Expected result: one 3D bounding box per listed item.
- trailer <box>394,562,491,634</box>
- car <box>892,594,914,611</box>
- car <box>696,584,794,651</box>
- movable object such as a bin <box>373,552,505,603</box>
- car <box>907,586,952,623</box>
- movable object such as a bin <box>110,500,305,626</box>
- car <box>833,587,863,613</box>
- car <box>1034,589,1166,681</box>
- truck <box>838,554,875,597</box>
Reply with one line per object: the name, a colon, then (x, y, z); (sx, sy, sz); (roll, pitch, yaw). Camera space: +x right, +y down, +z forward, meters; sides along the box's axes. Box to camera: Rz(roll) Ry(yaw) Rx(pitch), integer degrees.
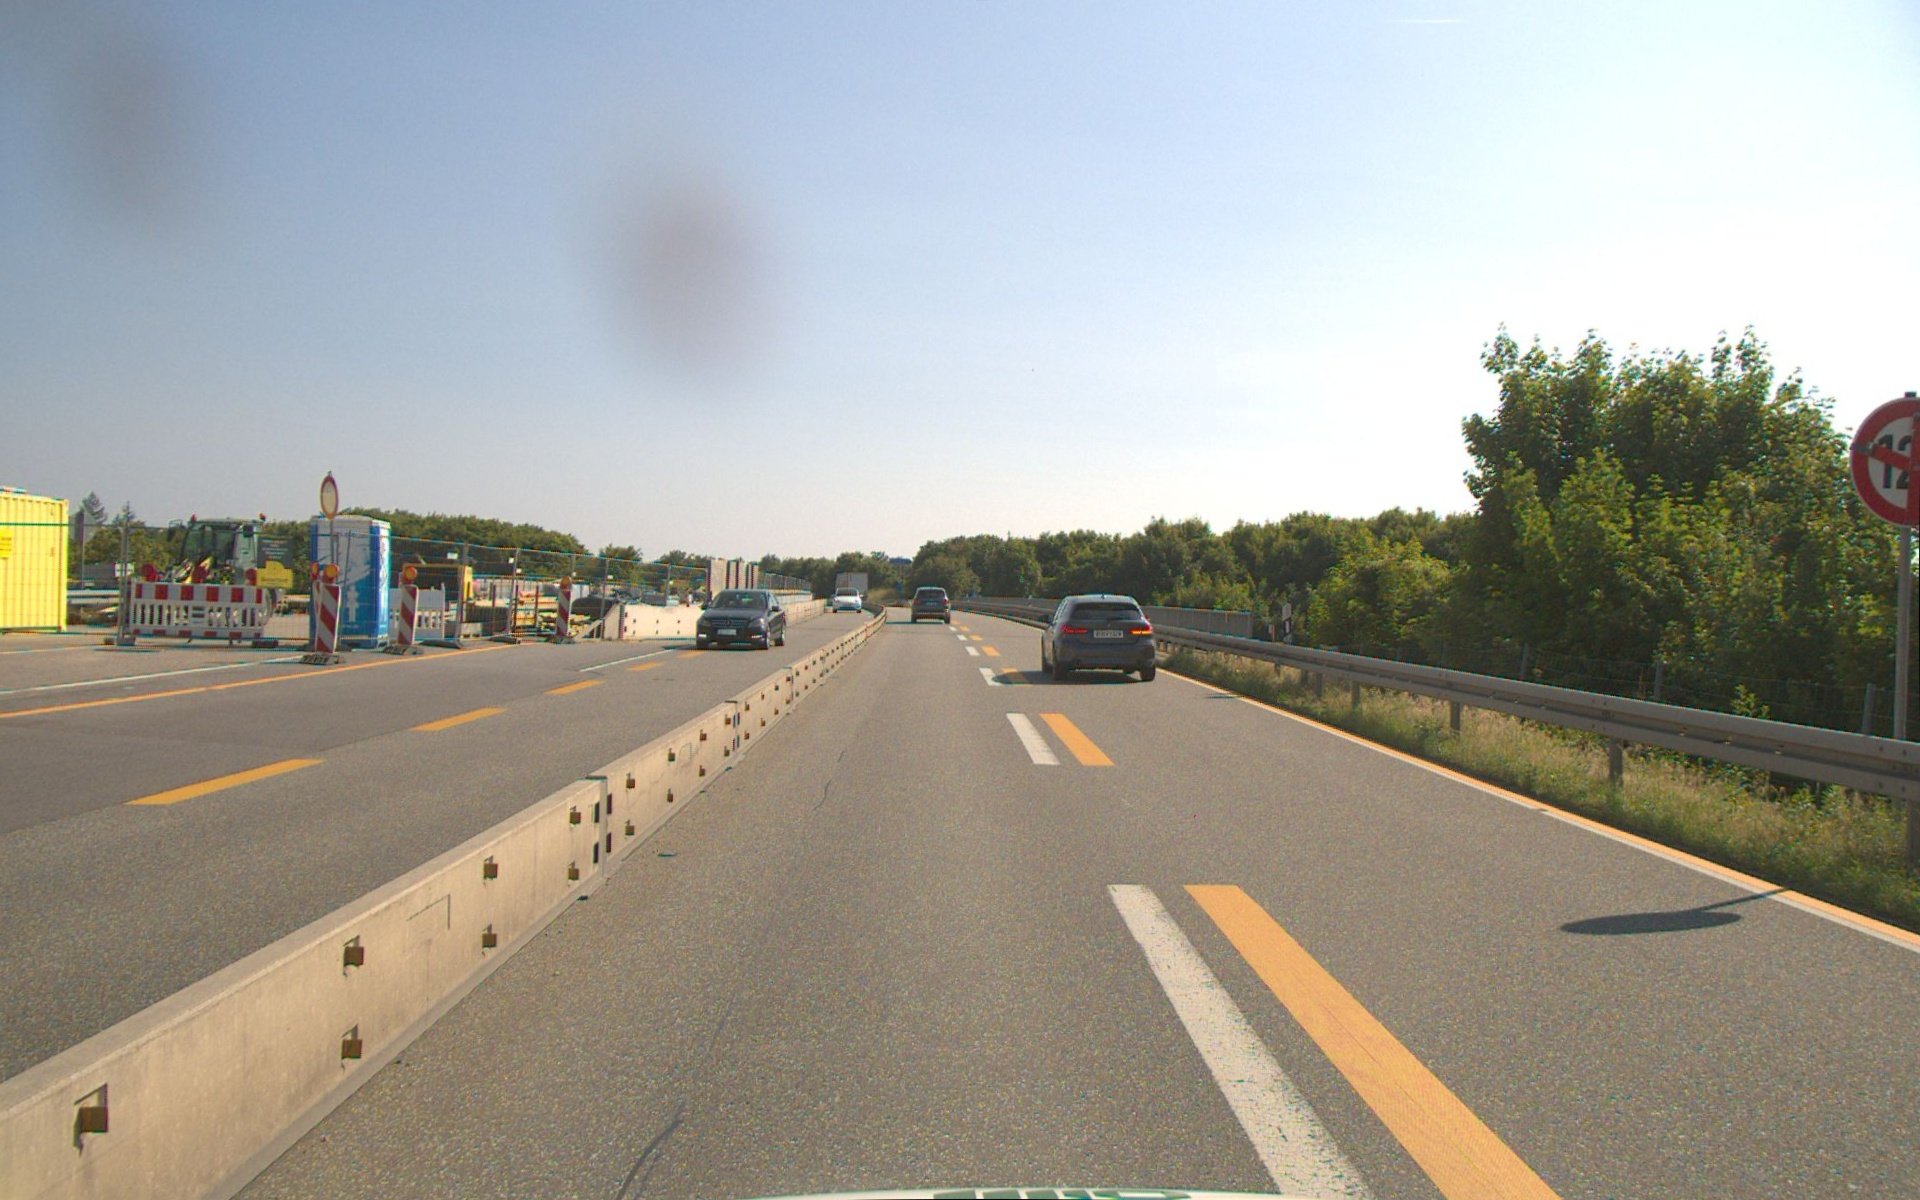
trailer: (-13.188, -0.069, 42.322); (1.687, 1.677, 3.528); (3, 0, -7)
car: (-6.253, 0.292, 182.453); (1.956, 1.717, 3.993); (2, 0, -8)
car: (-5.316, 0.393, 41.418); (1.821, 1.499, 4.684); (3, 1, 0)
movable object such as a bin: (-23.330, -1.011, 74.126); (5.279, 2.153, 2.239); (1, 0, 18)
car: (-1.365, 0.187, 75.369); (1.953, 1.594, 4.000); (1, 0, 0)
movable object such as a bin: (-17.939, -0.842, 39.750); (1.989, 2.763, 5.110); (2, 0, 4)
car: (-7.476, -0.015, 110.585); (1.943, 1.679, 4.546); (2, 0, -4)
car: (2.414, 0.569, 29.503); (1.881, 1.520, 3.999); (1, 0, -2)
truck: (-12.987, -3.044, 205.780); (3.689, 4.996, 14.116); (2, 0, -7)
